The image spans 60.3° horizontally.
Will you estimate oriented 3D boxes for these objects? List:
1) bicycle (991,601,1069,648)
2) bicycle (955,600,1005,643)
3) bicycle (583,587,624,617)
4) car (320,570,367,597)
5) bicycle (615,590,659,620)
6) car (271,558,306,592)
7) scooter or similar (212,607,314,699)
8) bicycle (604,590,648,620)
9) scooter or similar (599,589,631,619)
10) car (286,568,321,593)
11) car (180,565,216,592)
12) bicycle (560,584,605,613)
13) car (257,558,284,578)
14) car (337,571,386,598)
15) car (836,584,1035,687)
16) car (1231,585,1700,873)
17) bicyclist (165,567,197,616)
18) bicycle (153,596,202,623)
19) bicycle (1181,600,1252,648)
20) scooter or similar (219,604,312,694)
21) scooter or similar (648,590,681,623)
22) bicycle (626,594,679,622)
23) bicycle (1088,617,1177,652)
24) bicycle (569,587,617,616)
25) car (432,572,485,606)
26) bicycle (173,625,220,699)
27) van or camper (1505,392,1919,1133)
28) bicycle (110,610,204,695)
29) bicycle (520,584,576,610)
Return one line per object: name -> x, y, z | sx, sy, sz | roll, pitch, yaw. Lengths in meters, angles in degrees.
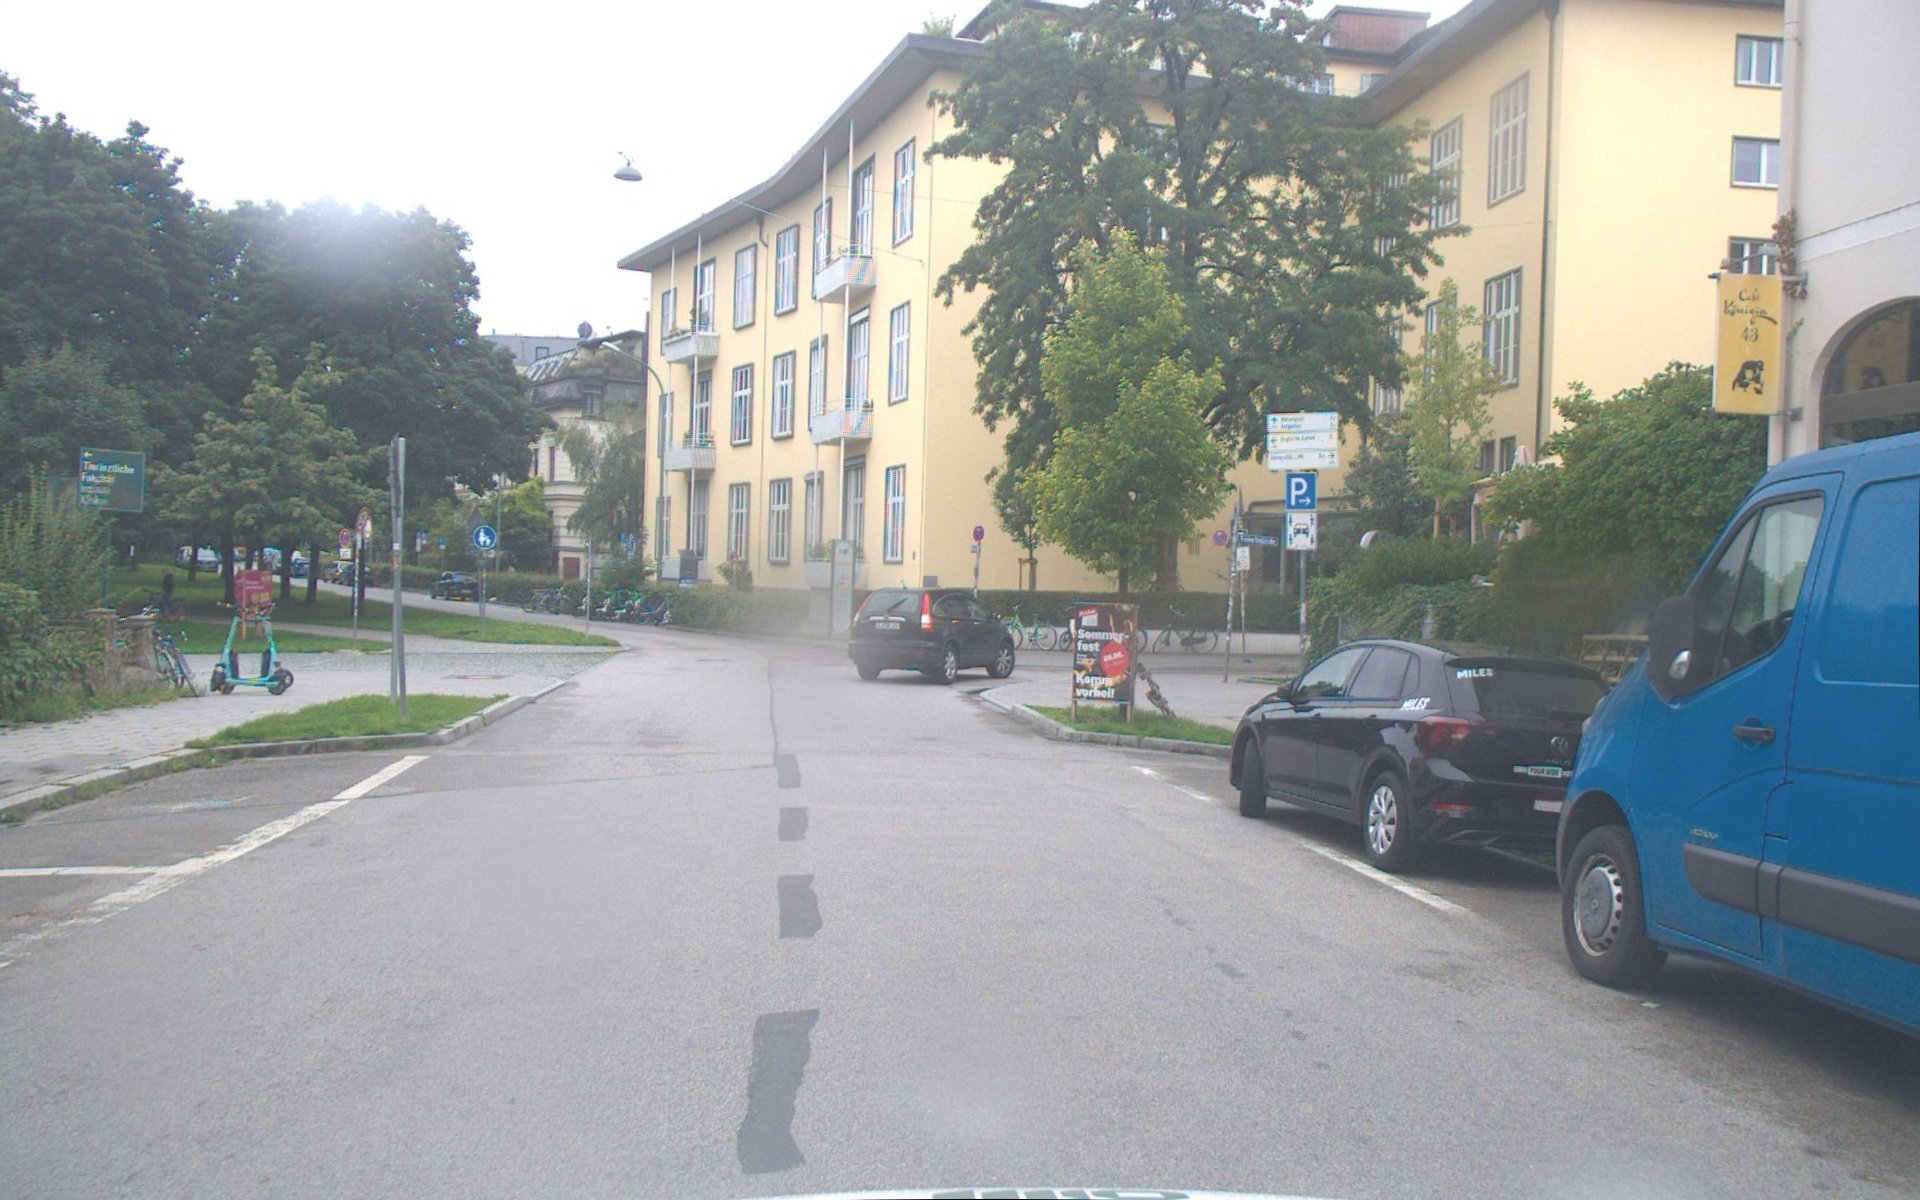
bicycle -> 1.821, 0.633, 43.248 | 2.179, 1.136, 0.606 | 2, 1, 44
bicycle -> 0.531, 0.580, 45.394 | 0.599, 1.091, 2.203 | 0, 1, -21
bicycle -> -13.710, 0.065, 63.640 | 0.624, 1.104, 1.986 | 1, 1, 19
car -> -41.588, -1.111, 111.514 | 2.154, 1.686, 4.459 | 1, 0, -31
bicycle -> -12.182, 0.172, 62.489 | 0.564, 1.104, 1.931 | 1, 1, 26
car -> -53.605, -1.973, 132.045 | 1.856, 2.613, 4.881 | 1, 0, -30
scooter or similar -> -9.693, 0.729, 23.026 | 1.154, 1.241, 0.602 | -1, 0, -3
bicycle -> -12.707, 0.173, 63.013 | 0.564, 1.104, 1.931 | 1, 1, 26
scooter or similar -> -13.191, 0.133, 63.335 | 0.485, 1.107, 1.409 | 1, 1, 22
car -> -49.168, -1.462, 123.814 | 1.856, 1.847, 3.959 | 1, 1, -31
car -> -55.502, -1.599, 120.479 | 1.973, 1.870, 3.960 | 1, 0, -30
bicycle -> -15.067, -0.073, 66.042 | 0.746, 1.104, 2.142 | 1, 1, 19
car -> -59.170, -2.763, 141.978 | 1.627, 1.681, 4.242 | 1, 1, -30
car -> -38.493, -1.009, 106.369 | 2.154, 1.686, 4.459 | 1, 0, -31
car -> -0.359, 0.621, 30.944 | 1.956, 1.723, 4.376 | 2, 0, 26
car -> 3.329, 0.752, 11.762 | 1.671, 1.544, 3.953 | 5, 0, -6
bicyclist -> -24.066, -0.254, 51.117 | 0.614, 1.486, 0.646 | 1, 0, 6
bicycle -> -24.163, 0.295, 51.083 | 1.328, 0.789, 0.440 | 1, 0, 6
bicycle -> 6.505, 0.613, 41.996 | 1.699, 1.170, 0.610 | 1, 0, -1
scooter or similar -> -9.975, 0.687, 23.785 | 0.437, 1.241, 1.179 | -1, 0, 32
scooter or similar -> -10.550, 0.227, 59.115 | 0.485, 1.128, 1.409 | 1, 1, 22
bicycle -> -11.214, 0.285, 60.360 | 1.806, 1.023, 0.571 | 0, 1, -33
bicycle -> 4.381, 0.869, 41.948 | 2.163, 0.792, 0.610 | 2, 1, 15
bicycle -> -14.264, 0.047, 64.328 | 0.681, 1.104, 2.340 | 1, 1, 19
car -> -25.690, -0.574, 84.628 | 1.842, 1.662, 4.245 | 1, 0, -28
bicycle -> -10.378, 0.827, 22.475 | 0.465, 0.939, 1.192 | 1, 1, -30
van or camper -> 3.956, 0.562, 5.495 | 2.020, 2.269, 5.434 | 5, 0, -4
bicycle -> -11.576, 0.740, 23.841 | 1.473, 1.154, 0.651 | 2, 1, 39
bicycle -> -17.825, -0.118, 71.581 | 2.312, 1.104, 0.684 | 0, 1, -36
